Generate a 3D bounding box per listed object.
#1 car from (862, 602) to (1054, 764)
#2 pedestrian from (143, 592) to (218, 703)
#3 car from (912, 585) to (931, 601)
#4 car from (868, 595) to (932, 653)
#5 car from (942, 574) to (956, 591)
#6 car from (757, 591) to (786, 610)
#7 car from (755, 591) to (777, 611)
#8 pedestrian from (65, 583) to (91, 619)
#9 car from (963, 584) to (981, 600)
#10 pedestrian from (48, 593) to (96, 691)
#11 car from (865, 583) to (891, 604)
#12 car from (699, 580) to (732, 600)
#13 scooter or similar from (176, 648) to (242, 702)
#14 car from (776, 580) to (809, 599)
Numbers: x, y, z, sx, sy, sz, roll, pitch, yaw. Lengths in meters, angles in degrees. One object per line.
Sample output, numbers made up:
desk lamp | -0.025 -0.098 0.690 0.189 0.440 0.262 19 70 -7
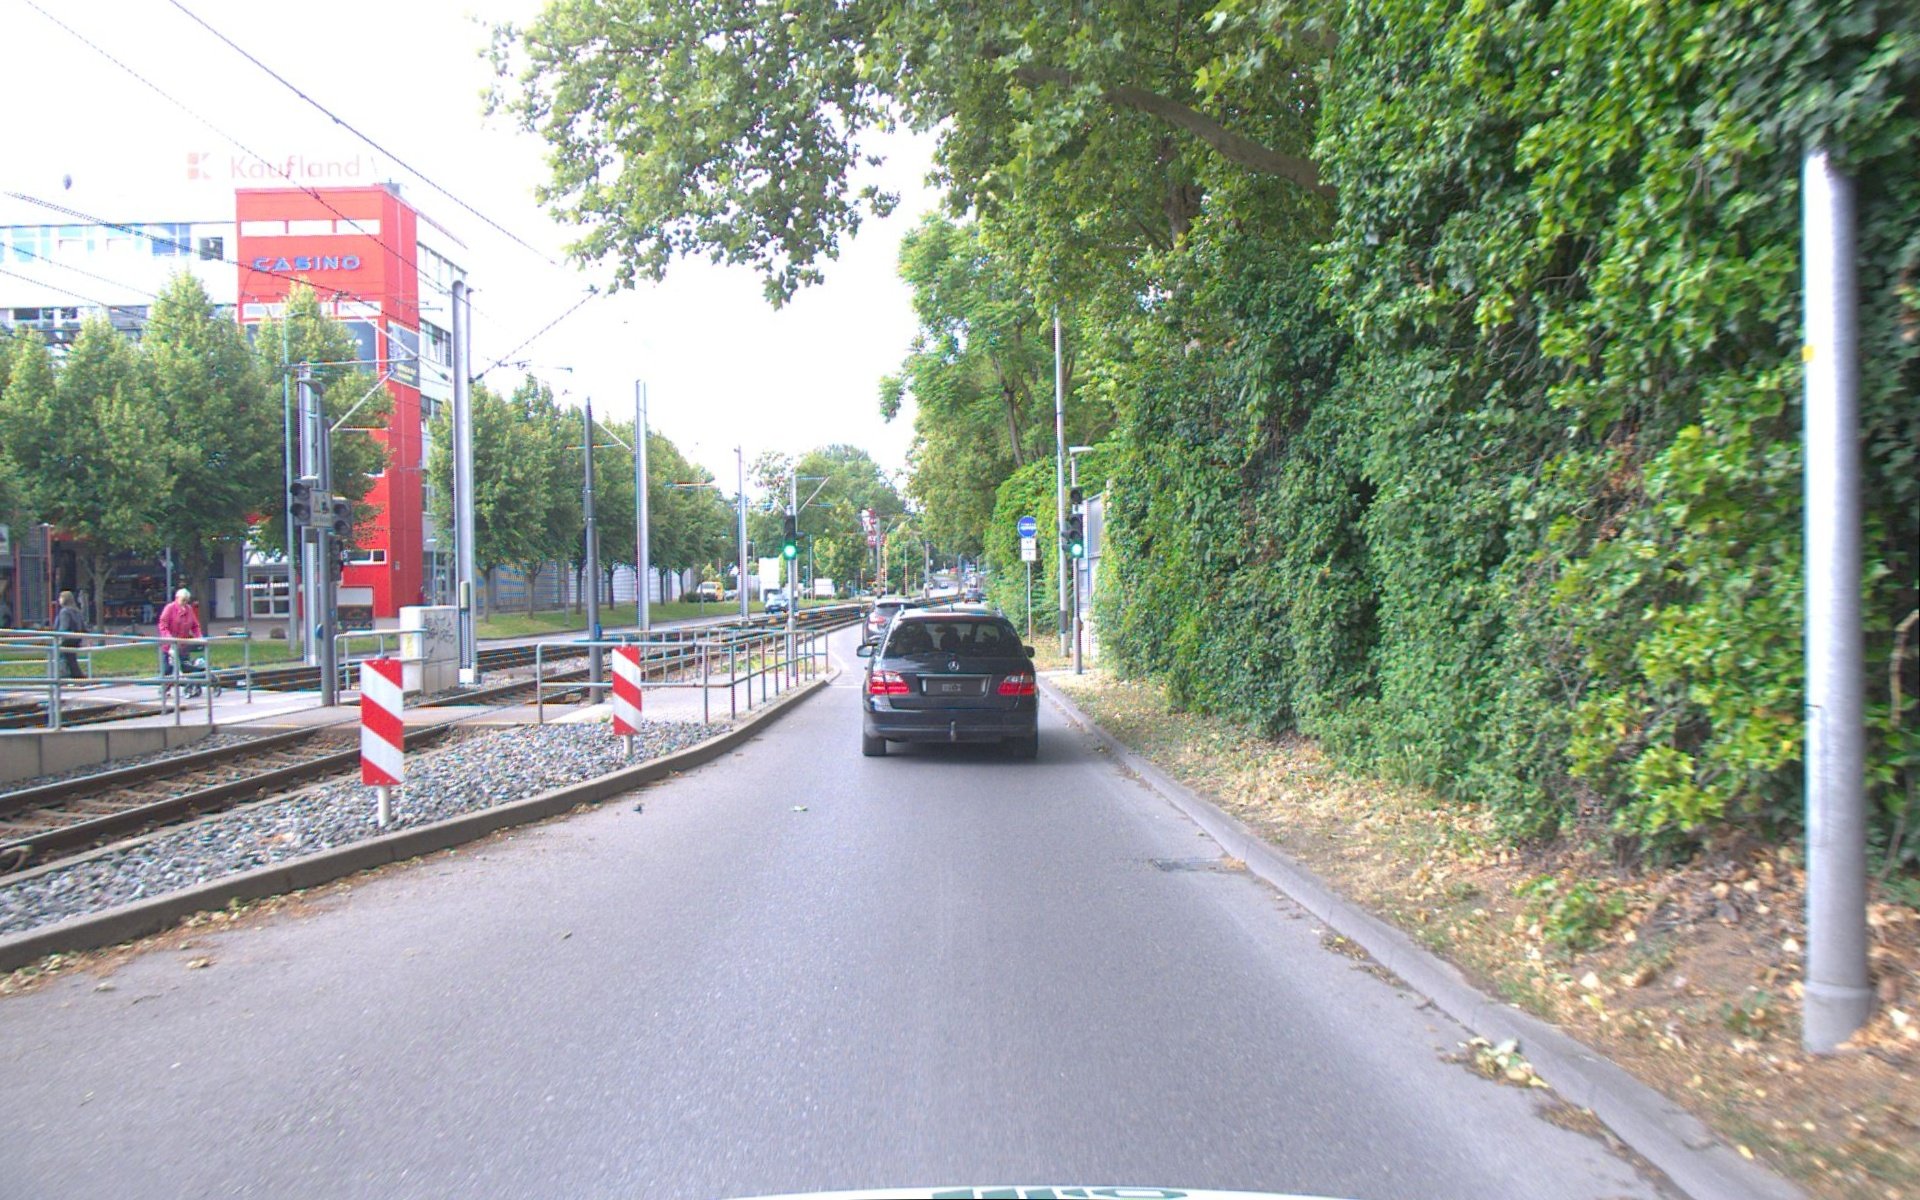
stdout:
car | -0.009 0.781 17.714 1.795 1.504 4.416 0 0 0
pedestrian | -12.195 0.739 25.887 0.600 1.682 0.796 -3 0 21
car | -4.005 -0.749 172.492 1.787 1.556 3.987 0 1 1
car | -1.708 0.662 48.523 1.788 1.556 4.415 0 1 -1
car | -1.434 -2.302 217.362 1.853 2.048 3.897 -3 0 0
car | -15.002 0.011 131.591 1.624 1.417 3.721 -1 0 4
car | -21.457 0.109 183.298 1.953 2.048 3.999 -3 0 -1
pedestrian | -42.871 0.046 80.378 0.722 1.724 0.866 -3 0 -1
car | 1.260 -0.803 169.341 1.787 1.556 4.416 -2 0 1
pedestrian | -15.675 0.729 29.205 0.505 1.691 0.466 -3 0 10
car | -6.328 -0.528 128.172 1.787 1.556 3.928 0 1 1
car | -22.500 -0.915 152.129 1.952 1.773 4.990 -2 0 3
scooter or similar | -11.664 1.160 25.697 0.485 0.781 0.799 -3 0 20
car | -20.649 -1.253 203.456 3.910 2.160 1.998 -3 0 -6
